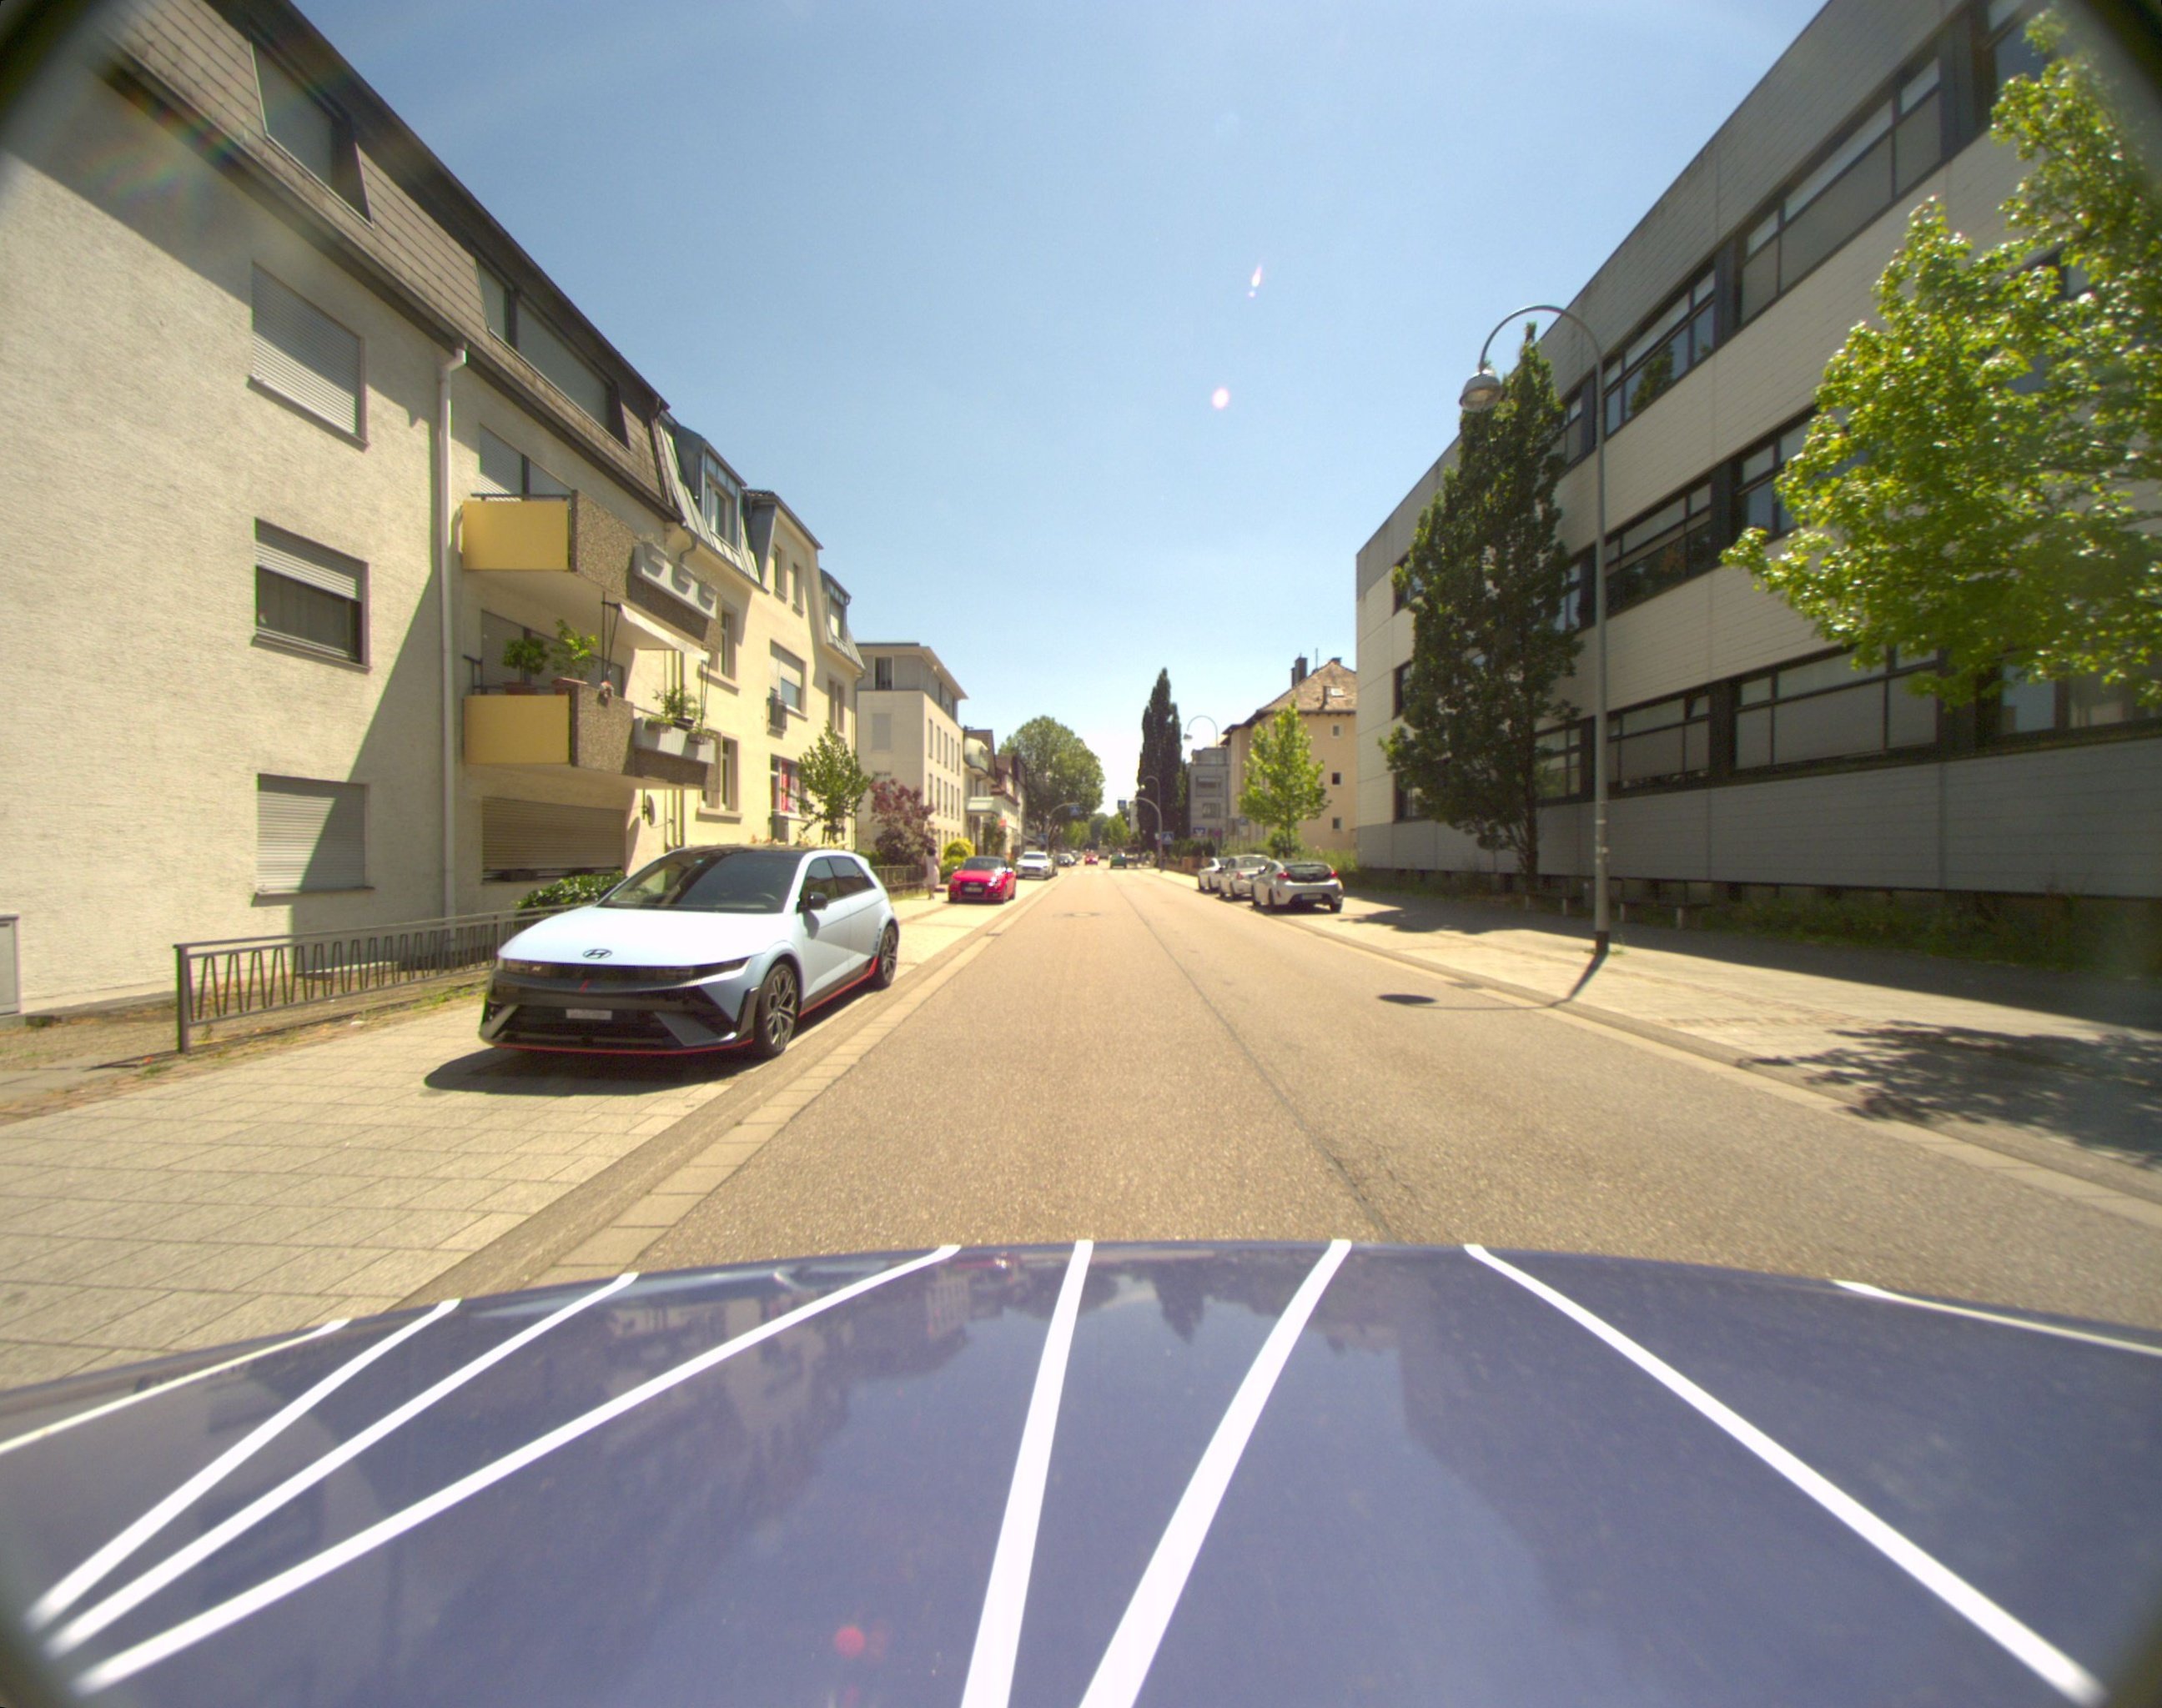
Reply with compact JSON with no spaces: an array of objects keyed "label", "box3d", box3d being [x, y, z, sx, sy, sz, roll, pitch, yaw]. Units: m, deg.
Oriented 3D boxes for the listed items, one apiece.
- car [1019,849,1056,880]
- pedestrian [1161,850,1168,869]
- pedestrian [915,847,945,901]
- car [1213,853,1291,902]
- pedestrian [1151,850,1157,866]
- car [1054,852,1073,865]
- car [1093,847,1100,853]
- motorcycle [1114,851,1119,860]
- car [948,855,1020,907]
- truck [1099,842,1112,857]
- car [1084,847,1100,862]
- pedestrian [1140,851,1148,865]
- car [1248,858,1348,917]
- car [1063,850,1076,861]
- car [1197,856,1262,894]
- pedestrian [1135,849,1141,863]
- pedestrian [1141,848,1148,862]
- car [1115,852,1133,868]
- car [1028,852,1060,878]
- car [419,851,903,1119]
[{"label":"car","box3d":[-2.533,0.566,45.284,1.709,1.656,4.580,3,1,1]},{"label":"pedestrian","box3d":[7.238,0.485,66.044,0.538,1.675,0.708,-1,1,1]},{"label":"pedestrian","box3d":[-4.755,0.613,23.942,0.742,1.660,0.706,2,1,0]},{"label":"car","box3d":[5.871,0.763,26.582,1.827,1.503,4.289,-2,0,1]},{"label":"pedestrian","box3d":[7.363,0.416,77.042,0.538,1.675,0.708,-1,1,1]},{"label":"car","box3d":[-1.932,0.473,85.213,1.831,1.418,4.700,1,1,1]},{"label":"car","box3d":[4.152,-1.090,208.520,1.732,1.500,4.292,-1,2,-1]},{"label":"motorcycle","box3d":[4.831,0.193,103.911,0.700,1.101,1.790,0,0,3]},{"label":"car","box3d":[-2.977,0.791,24.046,1.607,1.432,3.853,3,0,2]},{"label":"truck","box3d":[5.053,-0.873,157.405,2.425,2.966,6.259,0,0,3]},{"label":"car","box3d":[1.418,0.009,98.299,2.000,1.880,4.294,-2,1,1]},{"label":"pedestrian","box3d":[7.447,0.439,90.405,0.847,1.635,0.751,-3,1,3]},{"label":"car","box3d":[5.847,0.855,20.948,1.752,1.401,3.933,-2,0,2]},{"label":"car","box3d":[-1.453,0.203,96.404,1.561,1.333,4.173,1,1,1]},{"label":"car","box3d":[6.068,0.809,31.541,1.827,1.403,4.577,-2,0,1]},{"label":"pedestrian","box3d":[7.379,0.256,98.408,0.622,1.667,0.903,-3,1,0]},{"label":"pedestrian","box3d":[8.181,0.135,98.327,0.750,1.760,0.951,-1,1,0]},{"label":"car","box3d":[4.733,0.610,83.445,1.826,1.579,4.100,-2,1,3]},{"label":"car","box3d":[-2.379,0.675,50.313,1.709,1.547,4.748,3,0,1]},{"label":"car","box3d":[-3.138,0.808,6.934,1.848,1.610,4.427,2,0,2]}]
